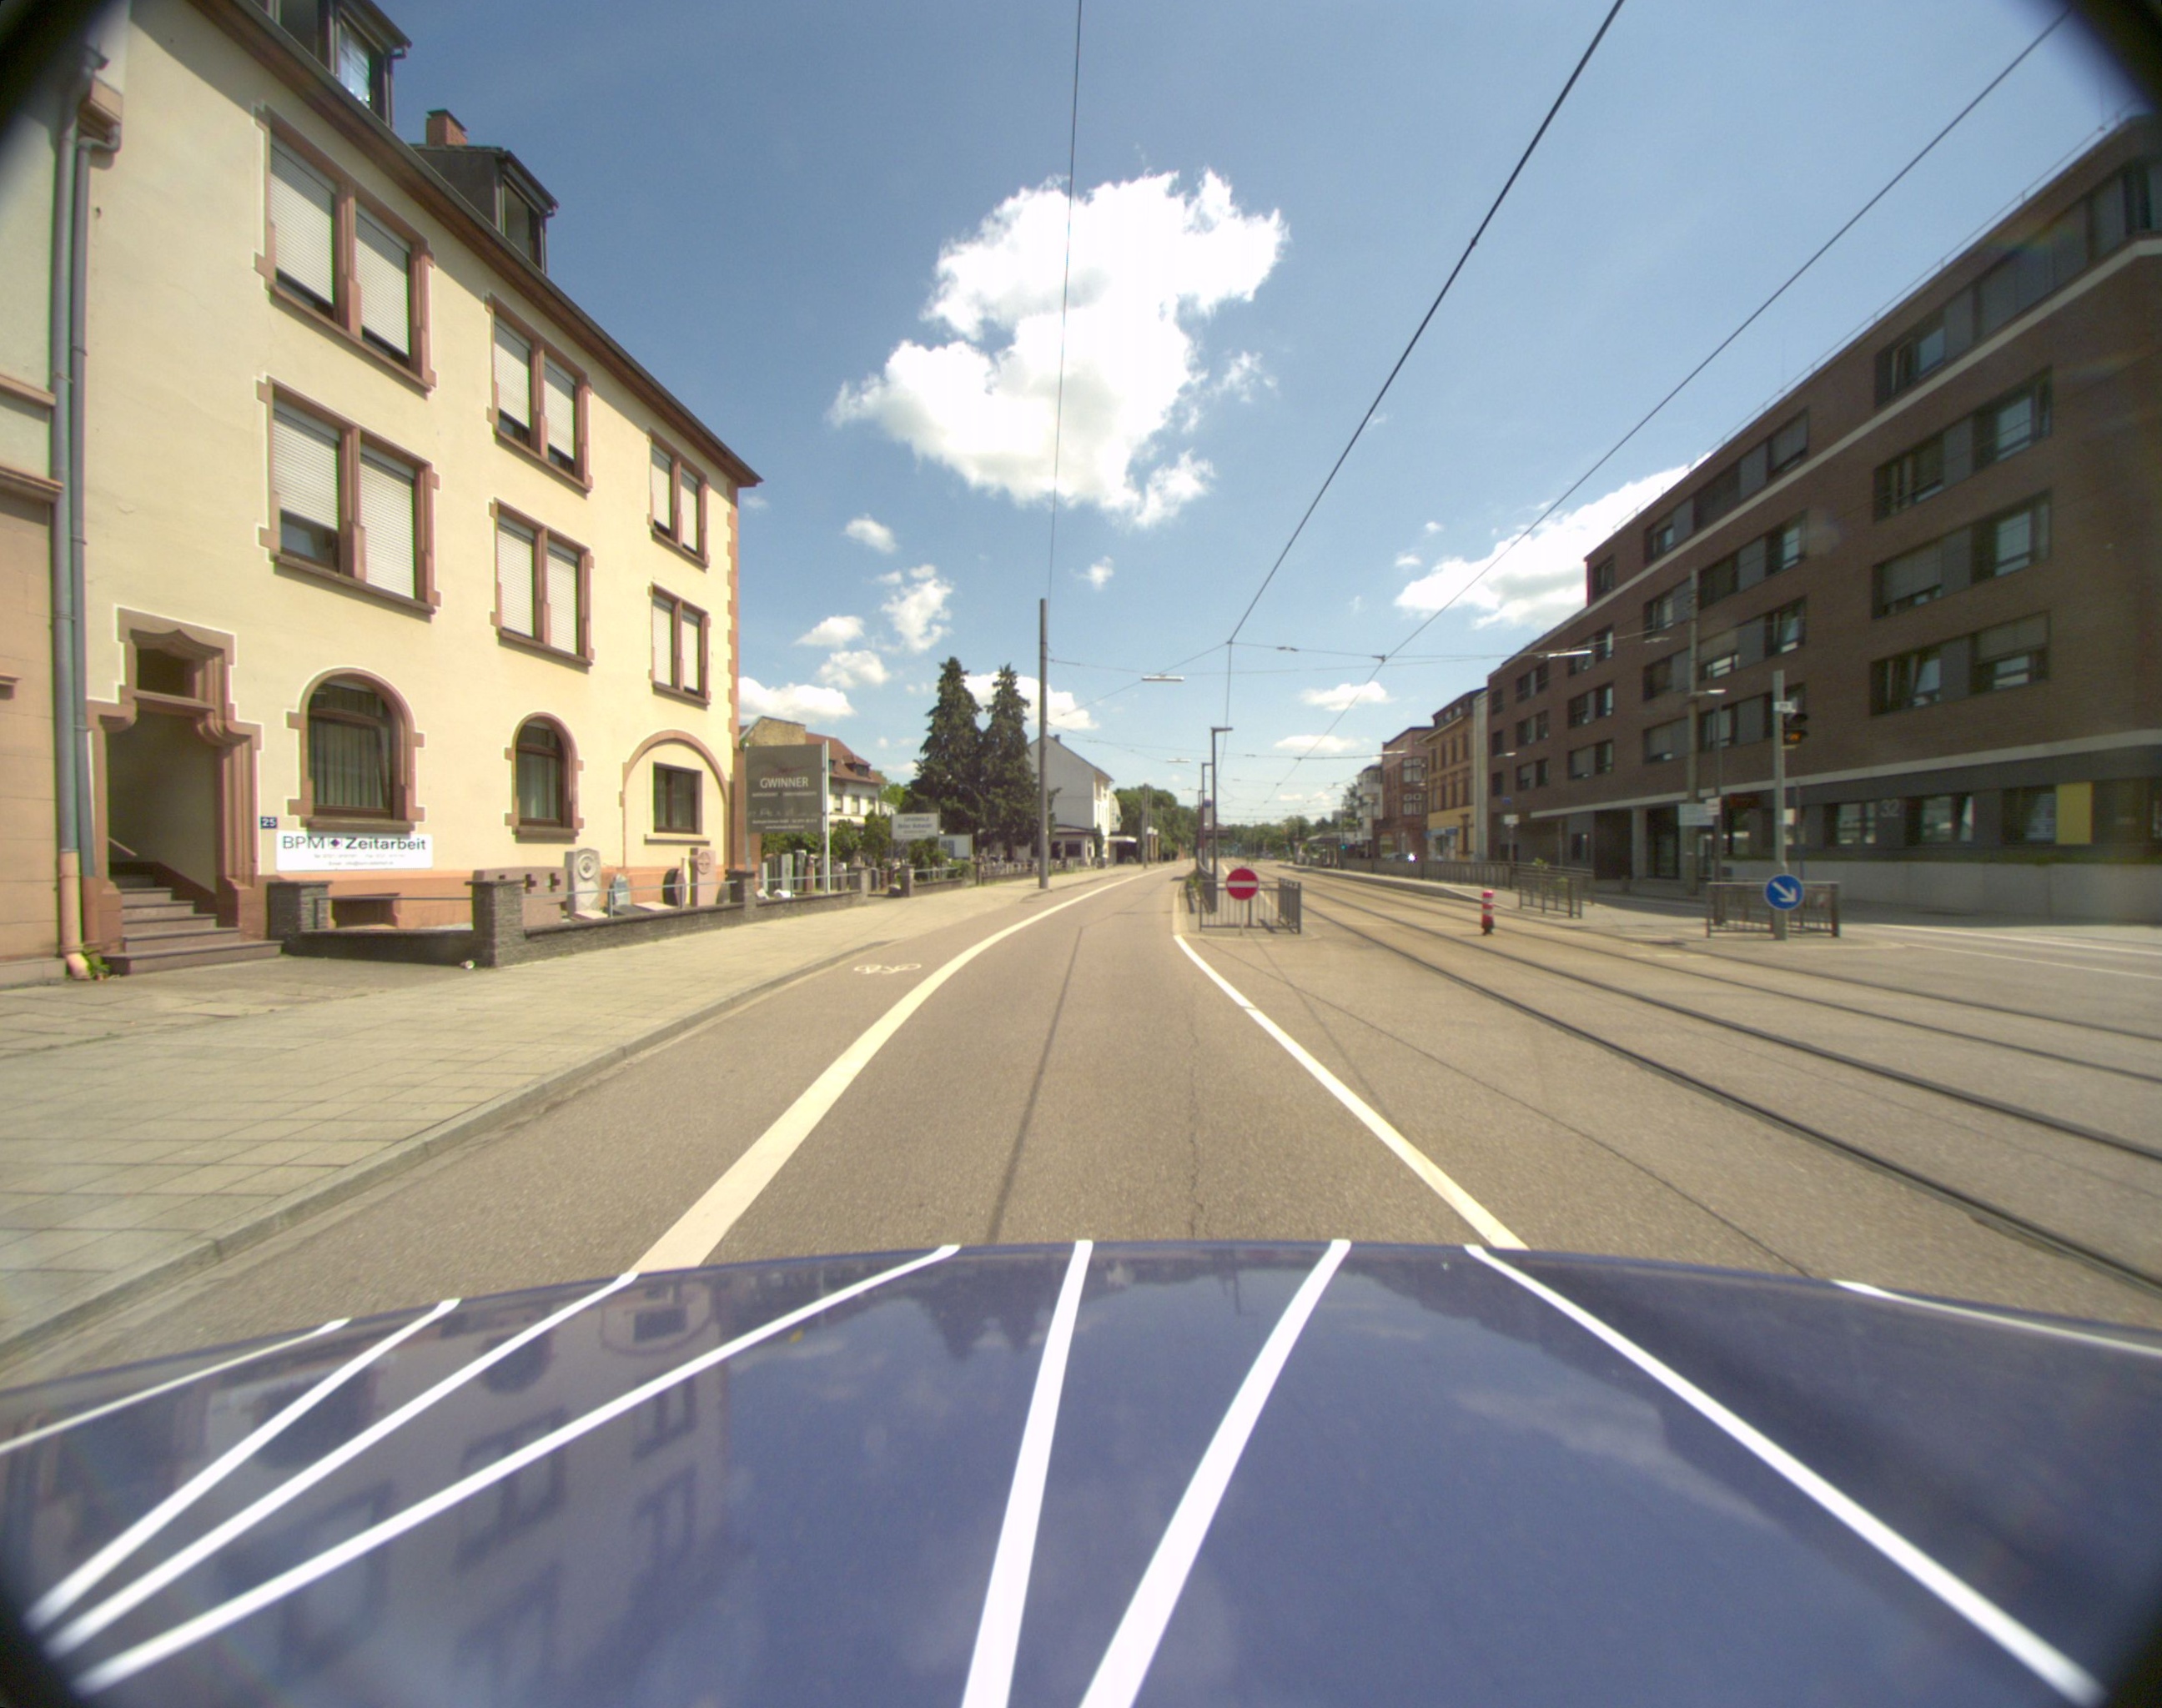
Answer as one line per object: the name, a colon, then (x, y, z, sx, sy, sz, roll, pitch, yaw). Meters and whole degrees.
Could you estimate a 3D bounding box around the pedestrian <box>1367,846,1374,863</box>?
pedestrian: (33.061, 0.072, 86.698, 0.618, 2.002, 0.811, 0, 1, 8)

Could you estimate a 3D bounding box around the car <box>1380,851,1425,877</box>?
car: (21.823, 0.627, 51.654, 1.840, 1.618, 3.774, 2, 1, 8)

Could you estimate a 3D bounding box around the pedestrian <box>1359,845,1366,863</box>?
pedestrian: (32.232, 0.035, 86.993, 0.678, 2.002, 0.685, -1, 1, 8)

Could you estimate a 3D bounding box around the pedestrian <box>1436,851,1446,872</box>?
pedestrian: (24.129, 0.518, 50.955, 0.436, 1.376, 0.536, 2, 2, 10)

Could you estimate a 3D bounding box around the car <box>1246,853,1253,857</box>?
car: (56.783, 0.246, 255.540, 1.997, 1.463, 4.404, 0, 0, 10)

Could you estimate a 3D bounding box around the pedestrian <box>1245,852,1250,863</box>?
pedestrian: (23.003, 0.493, 104.867, 0.578, 1.547, 0.786, 2, 2, 13)

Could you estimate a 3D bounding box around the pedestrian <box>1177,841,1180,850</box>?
pedestrian: (21.194, -1.878, 165.406, 0.766, 1.841, 0.718, 0, 1, 7)
